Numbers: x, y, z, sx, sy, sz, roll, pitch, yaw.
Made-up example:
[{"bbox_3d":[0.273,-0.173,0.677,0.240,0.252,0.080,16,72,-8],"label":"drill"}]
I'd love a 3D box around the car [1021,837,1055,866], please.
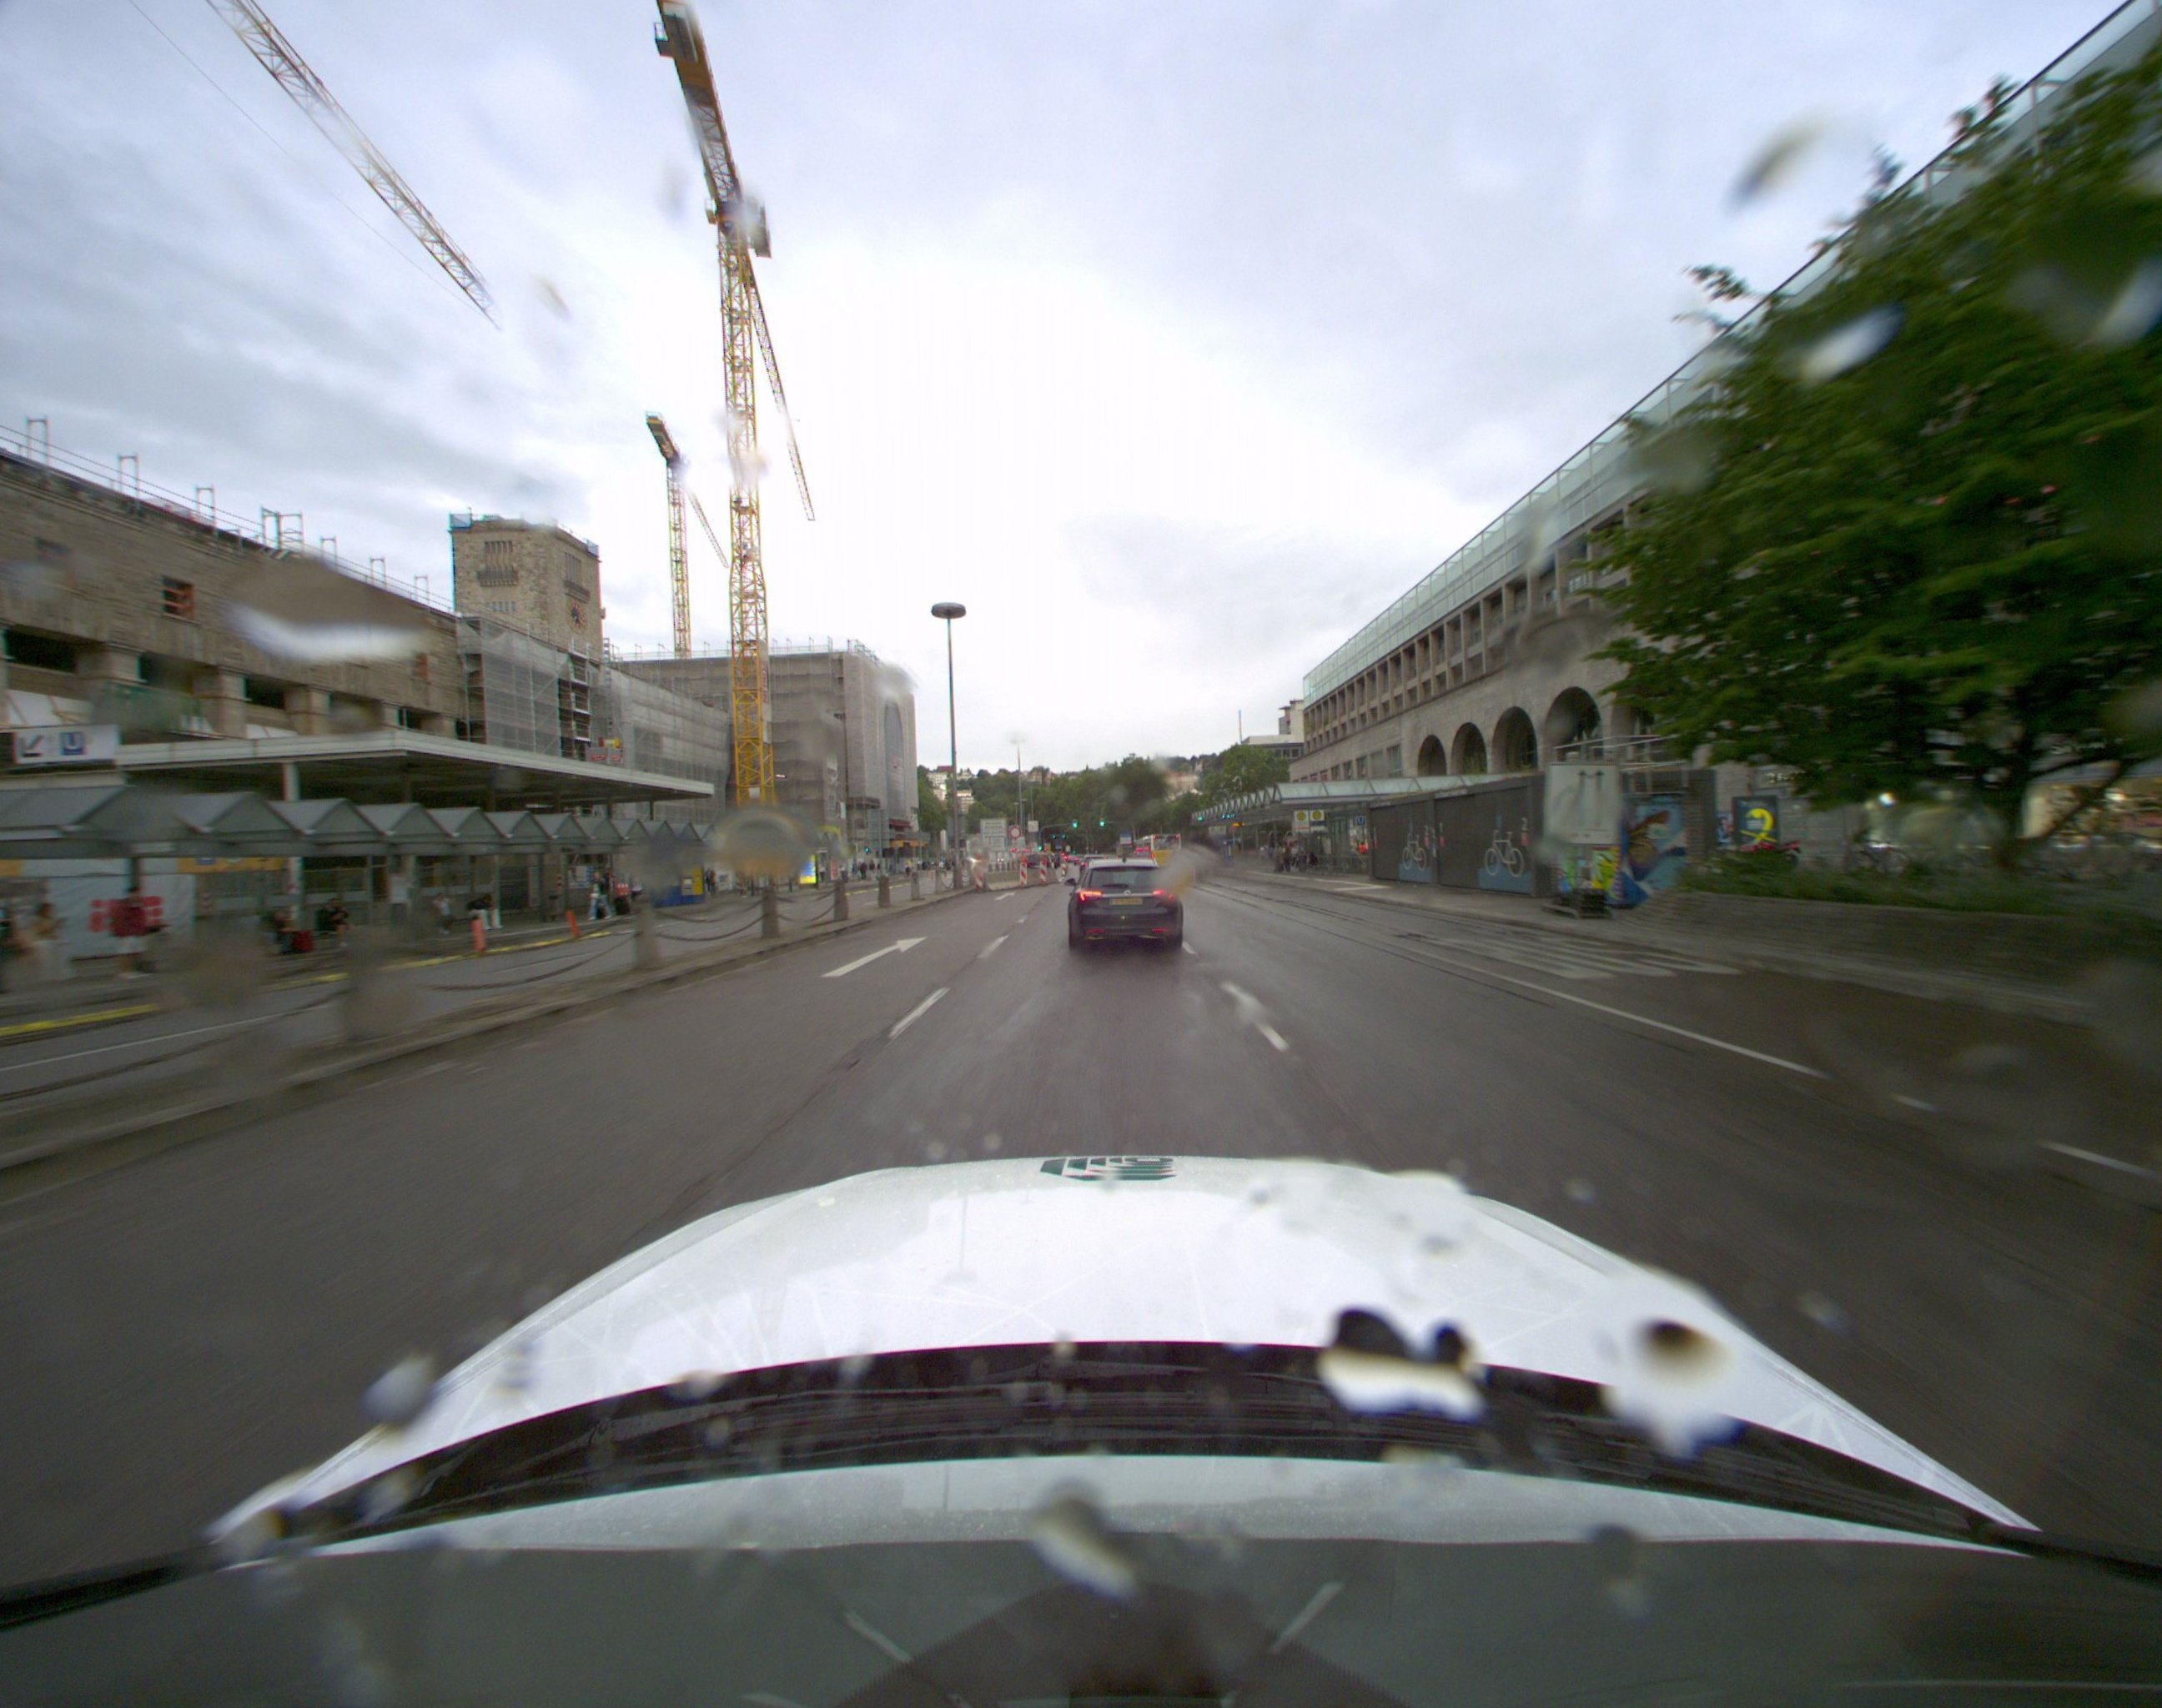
[{"bbox_3d":[-3.023,-0.206,58.388,1.986,1.862,4.834,-3,0,1],"label":"car"}]

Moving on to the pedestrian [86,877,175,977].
[{"bbox_3d":[-17.960,1.361,15.411,0.723,1.790,0.746,-2,0,-6],"label":"pedestrian"}]

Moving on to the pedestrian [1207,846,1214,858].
[{"bbox_3d":[13.536,-0.209,85.146,0.512,1.232,0.771,-3,0,3],"label":"pedestrian"}]

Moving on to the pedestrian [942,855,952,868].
[{"bbox_3d":[-19.848,1.119,120.742,0.975,1.841,1.046,-3,0,20],"label":"pedestrian"}]

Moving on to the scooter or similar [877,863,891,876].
[{"bbox_3d":[-18.086,1.410,74.797,0.454,1.066,1.248,-2,1,35],"label":"scooter or similar"}]

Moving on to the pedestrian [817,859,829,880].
[{"bbox_3d":[-22.645,1.369,71.366,0.739,1.841,0.657,-2,0,3],"label":"pedestrian"}]

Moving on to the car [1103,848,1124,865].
[{"bbox_3d":[3.354,0.275,84.890,1.847,1.717,3.996,-1,0,-2],"label":"car"}]

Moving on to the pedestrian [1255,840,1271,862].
[{"bbox_3d":[15.288,-0.240,68.441,0.791,1.804,0.983,-3,0,-29],"label":"pedestrian"}]

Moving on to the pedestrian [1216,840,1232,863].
[{"bbox_3d":[10.835,-0.162,61.821,0.762,1.690,0.992,-2,0,-21],"label":"pedestrian"}]

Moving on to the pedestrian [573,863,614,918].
[{"bbox_3d":[-16.580,1.226,27.705,0.771,1.790,0.862,-2,0,7],"label":"pedestrian"}]

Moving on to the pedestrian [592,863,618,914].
[{"bbox_3d":[-17.598,1.257,30.109,0.682,1.848,0.551,-3,0,-44],"label":"pedestrian"}]

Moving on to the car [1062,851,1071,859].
[{"bbox_3d":[-3.106,0.272,174.479,1.700,1.665,3.707,-1,0,1],"label":"car"}]

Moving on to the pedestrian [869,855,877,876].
[{"bbox_3d":[-18.547,1.001,72.511,0.507,1.841,0.703,-2,0,-6],"label":"pedestrian"}]

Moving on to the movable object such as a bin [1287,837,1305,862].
[{"bbox_3d":[14.425,-0.322,54.695,0.665,1.652,1.040,-2,0,-23],"label":"movable object such as a bin"}]

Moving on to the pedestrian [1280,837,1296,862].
[{"bbox_3d":[14.099,-0.297,55.539,0.763,1.654,0.675,-2,0,-24],"label":"pedestrian"}]

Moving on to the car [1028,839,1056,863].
[{"bbox_3d":[-3.016,-0.218,63.779,1.988,1.706,4.829,-3,0,-2],"label":"car"}]

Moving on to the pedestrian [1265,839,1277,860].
[{"bbox_3d":[15.210,-0.352,65.239,0.745,1.695,0.902,-2,0,3],"label":"pedestrian"}]

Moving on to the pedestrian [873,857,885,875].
[{"bbox_3d":[-21.369,1.310,86.269,0.835,1.841,1.059,-2,0,3],"label":"pedestrian"}]

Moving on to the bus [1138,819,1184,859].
[{"bbox_3d":[6.943,-1.248,71.837,3.131,3.247,9.134,-1,0,0],"label":"bus"}]

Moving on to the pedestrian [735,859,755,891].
[{"bbox_3d":[-19.844,1.221,48.046,0.738,1.841,0.705,-2,0,20],"label":"pedestrian"}]

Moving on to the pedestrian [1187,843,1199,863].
[{"bbox_3d":[10.542,-0.073,76.711,0.977,1.836,0.839,-2,0,16],"label":"pedestrian"}]

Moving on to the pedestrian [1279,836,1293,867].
[{"bbox_3d":[12.016,-0.149,47.720,0.625,1.836,0.642,-2,0,2],"label":"pedestrian"}]

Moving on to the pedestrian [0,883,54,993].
[{"bbox_3d":[-18.263,1.414,13.842,0.555,1.790,0.803,-2,0,-8],"label":"pedestrian"}]

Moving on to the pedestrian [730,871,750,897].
[{"bbox_3d":[-18.459,1.617,44.083,0.697,1.326,0.805,-2,0,-1],"label":"pedestrian"}]

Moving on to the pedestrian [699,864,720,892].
[{"bbox_3d":[-23.338,1.517,51.223,0.875,1.699,0.836,-2,0,-1],"label":"pedestrian"}]

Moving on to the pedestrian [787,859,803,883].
[{"bbox_3d":[-22.807,1.343,64.979,0.854,1.841,1.045,-1,0,0],"label":"pedestrian"}]

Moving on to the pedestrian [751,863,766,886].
[{"bbox_3d":[-23.598,1.507,59.653,0.801,1.670,0.700,-2,0,-5],"label":"pedestrian"}]

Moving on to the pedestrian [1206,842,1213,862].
[{"bbox_3d":[12.252,-0.208,77.832,0.563,1.836,0.570,-2,0,3],"label":"pedestrian"}]

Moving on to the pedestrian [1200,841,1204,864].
[{"bbox_3d":[9.377,-0.116,63.148,0.242,1.836,0.512,-2,0,4],"label":"pedestrian"}]

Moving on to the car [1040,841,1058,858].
[{"bbox_3d":[-3.779,-0.502,95.182,1.989,1.787,4.450,-3,0,-2],"label":"car"}]

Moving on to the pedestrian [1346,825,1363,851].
[{"bbox_3d":[19.200,-1.109,57.144,0.764,1.830,0.746,-2,0,-29],"label":"pedestrian"}]

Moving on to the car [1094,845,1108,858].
[{"bbox_3d":[2.625,-0.358,105.746,1.669,1.581,3.238,-1,0,-1],"label":"car"}]

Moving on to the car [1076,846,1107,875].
[{"bbox_3d":[0.689,0.396,51.448,1.824,1.686,4.135,-3,0,1],"label":"car"}]

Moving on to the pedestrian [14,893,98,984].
[{"bbox_3d":[-19.708,1.600,15.677,0.555,1.630,0.803,-2,0,-8],"label":"pedestrian"}]

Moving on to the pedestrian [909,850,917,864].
[{"bbox_3d":[-22.214,0.355,107.944,0.768,1.841,0.835,-2,0,2],"label":"pedestrian"}]

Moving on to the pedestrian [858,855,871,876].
[{"bbox_3d":[-19.440,1.048,73.072,0.695,1.841,0.883,-2,0,29],"label":"pedestrian"}]

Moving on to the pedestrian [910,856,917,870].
[{"bbox_3d":[-20.349,1.132,99.029,0.682,1.685,0.834,-2,0,-14],"label":"pedestrian"}]

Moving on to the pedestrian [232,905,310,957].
[{"bbox_3d":[-18.847,1.778,18.981,0.841,1.093,0.926,-2,0,-1],"label":"pedestrian"}]

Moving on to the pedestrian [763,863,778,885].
[{"bbox_3d":[-22.782,1.434,59.746,0.801,1.547,0.700,-2,0,-5],"label":"pedestrian"}]

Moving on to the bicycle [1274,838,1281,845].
[{"bbox_3d":[29.878,-1.958,123.820,0.612,1.025,2.000,-4,1,7],"label":"bicycle"}]

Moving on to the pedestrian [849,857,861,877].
[{"bbox_3d":[-22.266,1.272,80.275,0.799,1.841,0.869,-2,0,3],"label":"pedestrian"}]

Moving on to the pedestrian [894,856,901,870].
[{"bbox_3d":[-22.183,1.094,98.435,0.674,1.613,0.839,-2,0,2],"label":"pedestrian"}]

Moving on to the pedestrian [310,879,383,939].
[{"bbox_3d":[-18.919,1.408,20.995,1.052,1.432,0.830,-2,0,-1],"label":"pedestrian"}]

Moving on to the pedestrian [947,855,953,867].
[{"bbox_3d":[-19.575,1.023,121.794,0.696,1.841,0.528,-3,0,-3],"label":"pedestrian"}]

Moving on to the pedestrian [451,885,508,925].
[{"bbox_3d":[-19.023,1.609,25.772,0.946,1.158,1.055,-2,0,0],"label":"pedestrian"}]

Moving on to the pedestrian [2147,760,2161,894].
[{"bbox_3d":[14.508,-0.359,10.289,0.638,1.751,1.076,-2,0,-1],"label":"pedestrian"}]

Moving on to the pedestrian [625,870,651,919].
[{"bbox_3d":[-16.863,1.526,30.999,0.785,1.790,0.666,-2,0,-28],"label":"pedestrian"}]

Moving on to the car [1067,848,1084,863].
[{"bbox_3d":[-0.749,0.163,111.630,1.980,2.013,4.364,-1,0,-4],"label":"car"}]

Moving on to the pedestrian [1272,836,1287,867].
[{"bbox_3d":[11.902,-0.157,48.869,0.673,1.836,0.574,-2,0,2],"label":"pedestrian"}]

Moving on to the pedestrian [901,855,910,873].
[{"bbox_3d":[-19.218,1.091,89.096,0.876,1.841,0.834,-2,0,-14],"label":"pedestrian"}]

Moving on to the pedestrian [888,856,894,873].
[{"bbox_3d":[-20.880,1.167,89.563,0.571,1.841,0.701,-2,0,-14],"label":"pedestrian"}]

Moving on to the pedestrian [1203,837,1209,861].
[{"bbox_3d":[9.698,-0.417,63.160,0.345,1.836,0.533,-2,0,3],"label":"pedestrian"}]

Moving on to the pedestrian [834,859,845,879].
[{"bbox_3d":[-22.460,1.420,75.807,0.718,1.841,0.612,-2,0,3],"label":"pedestrian"}]

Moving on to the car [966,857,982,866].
[{"bbox_3d":[-17.061,1.206,130.304,1.987,1.468,3.999,-1,0,0],"label":"car"}]

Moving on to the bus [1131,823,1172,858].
[{"bbox_3d":[6.922,-1.238,81.004,3.104,3.205,9.239,-1,0,-1],"label":"bus"}]

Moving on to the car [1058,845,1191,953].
[{"bbox_3d":[0.701,0.628,14.253,1.871,1.508,4.854,-2,0,2],"label":"car"}]

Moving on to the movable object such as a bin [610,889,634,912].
[{"bbox_3d":[-17.226,1.738,30.597,0.505,0.789,0.638,-3,0,45],"label":"movable object such as a bin"}]

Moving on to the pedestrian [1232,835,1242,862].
[{"bbox_3d":[12.972,-0.465,67.718,0.588,2.215,0.587,-2,0,2],"label":"pedestrian"}]
